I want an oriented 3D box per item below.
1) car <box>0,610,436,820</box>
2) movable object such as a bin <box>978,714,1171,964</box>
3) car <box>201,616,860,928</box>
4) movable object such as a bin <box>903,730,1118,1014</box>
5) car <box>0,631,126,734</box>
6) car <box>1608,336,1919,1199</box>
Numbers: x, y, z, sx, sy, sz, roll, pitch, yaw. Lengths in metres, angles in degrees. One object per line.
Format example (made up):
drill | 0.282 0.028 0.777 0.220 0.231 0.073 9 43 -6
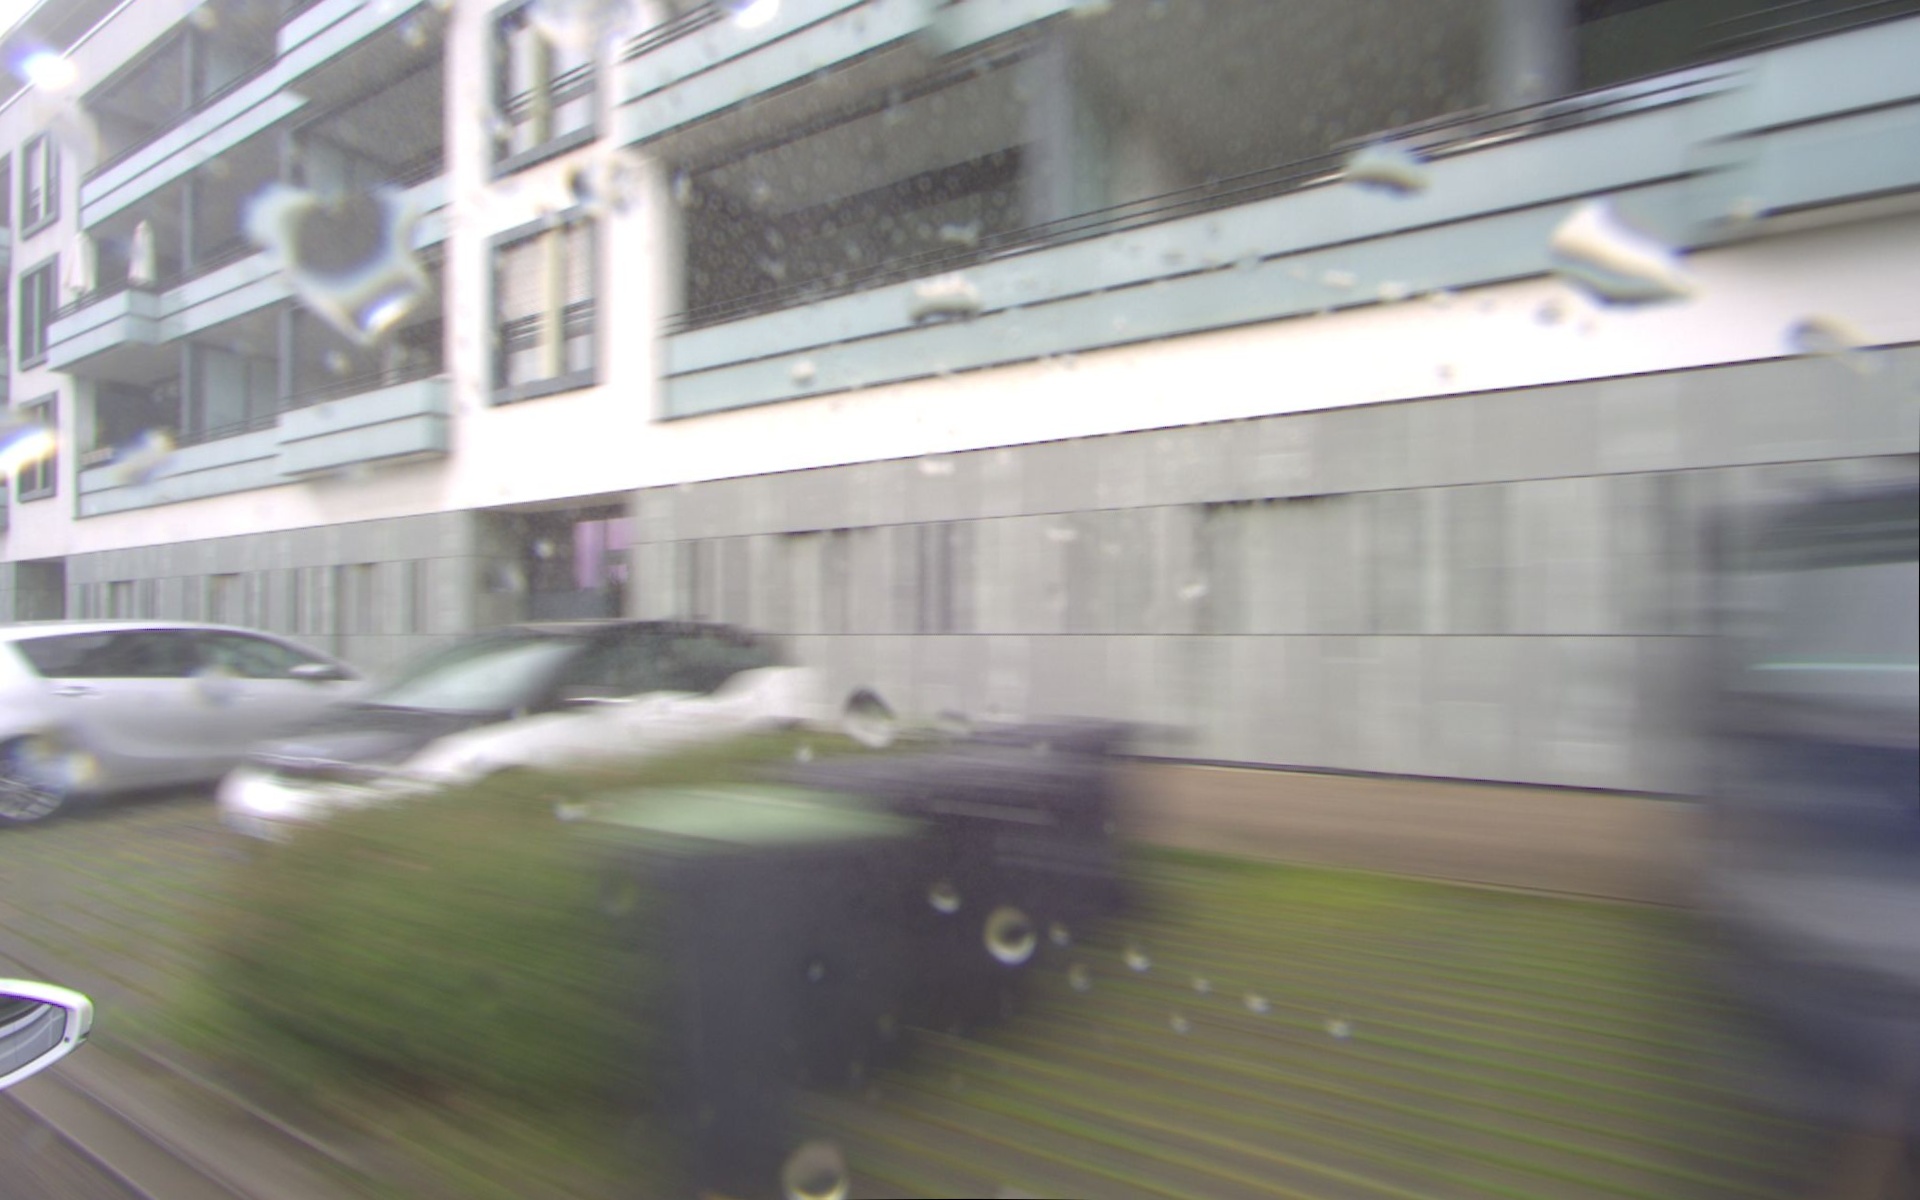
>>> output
car | -7.559 0.981 9.668 1.662 1.664 4.202 -2 -2 31
movable object such as a bin | 0.571 1.133 4.988 0.806 1.060 0.537 -1 -2 34
car | -2.615 0.898 7.178 1.724 1.502 4.172 -1 -1 28
movable object such as a bin | 0.228 1.154 4.494 0.806 1.060 0.537 -1 -2 34
car | -15.258 1.256 15.061 1.738 1.510 3.837 -1 -1 33
car | 3.451 0.554 3.402 1.953 1.954 5.040 -1 -1 32
